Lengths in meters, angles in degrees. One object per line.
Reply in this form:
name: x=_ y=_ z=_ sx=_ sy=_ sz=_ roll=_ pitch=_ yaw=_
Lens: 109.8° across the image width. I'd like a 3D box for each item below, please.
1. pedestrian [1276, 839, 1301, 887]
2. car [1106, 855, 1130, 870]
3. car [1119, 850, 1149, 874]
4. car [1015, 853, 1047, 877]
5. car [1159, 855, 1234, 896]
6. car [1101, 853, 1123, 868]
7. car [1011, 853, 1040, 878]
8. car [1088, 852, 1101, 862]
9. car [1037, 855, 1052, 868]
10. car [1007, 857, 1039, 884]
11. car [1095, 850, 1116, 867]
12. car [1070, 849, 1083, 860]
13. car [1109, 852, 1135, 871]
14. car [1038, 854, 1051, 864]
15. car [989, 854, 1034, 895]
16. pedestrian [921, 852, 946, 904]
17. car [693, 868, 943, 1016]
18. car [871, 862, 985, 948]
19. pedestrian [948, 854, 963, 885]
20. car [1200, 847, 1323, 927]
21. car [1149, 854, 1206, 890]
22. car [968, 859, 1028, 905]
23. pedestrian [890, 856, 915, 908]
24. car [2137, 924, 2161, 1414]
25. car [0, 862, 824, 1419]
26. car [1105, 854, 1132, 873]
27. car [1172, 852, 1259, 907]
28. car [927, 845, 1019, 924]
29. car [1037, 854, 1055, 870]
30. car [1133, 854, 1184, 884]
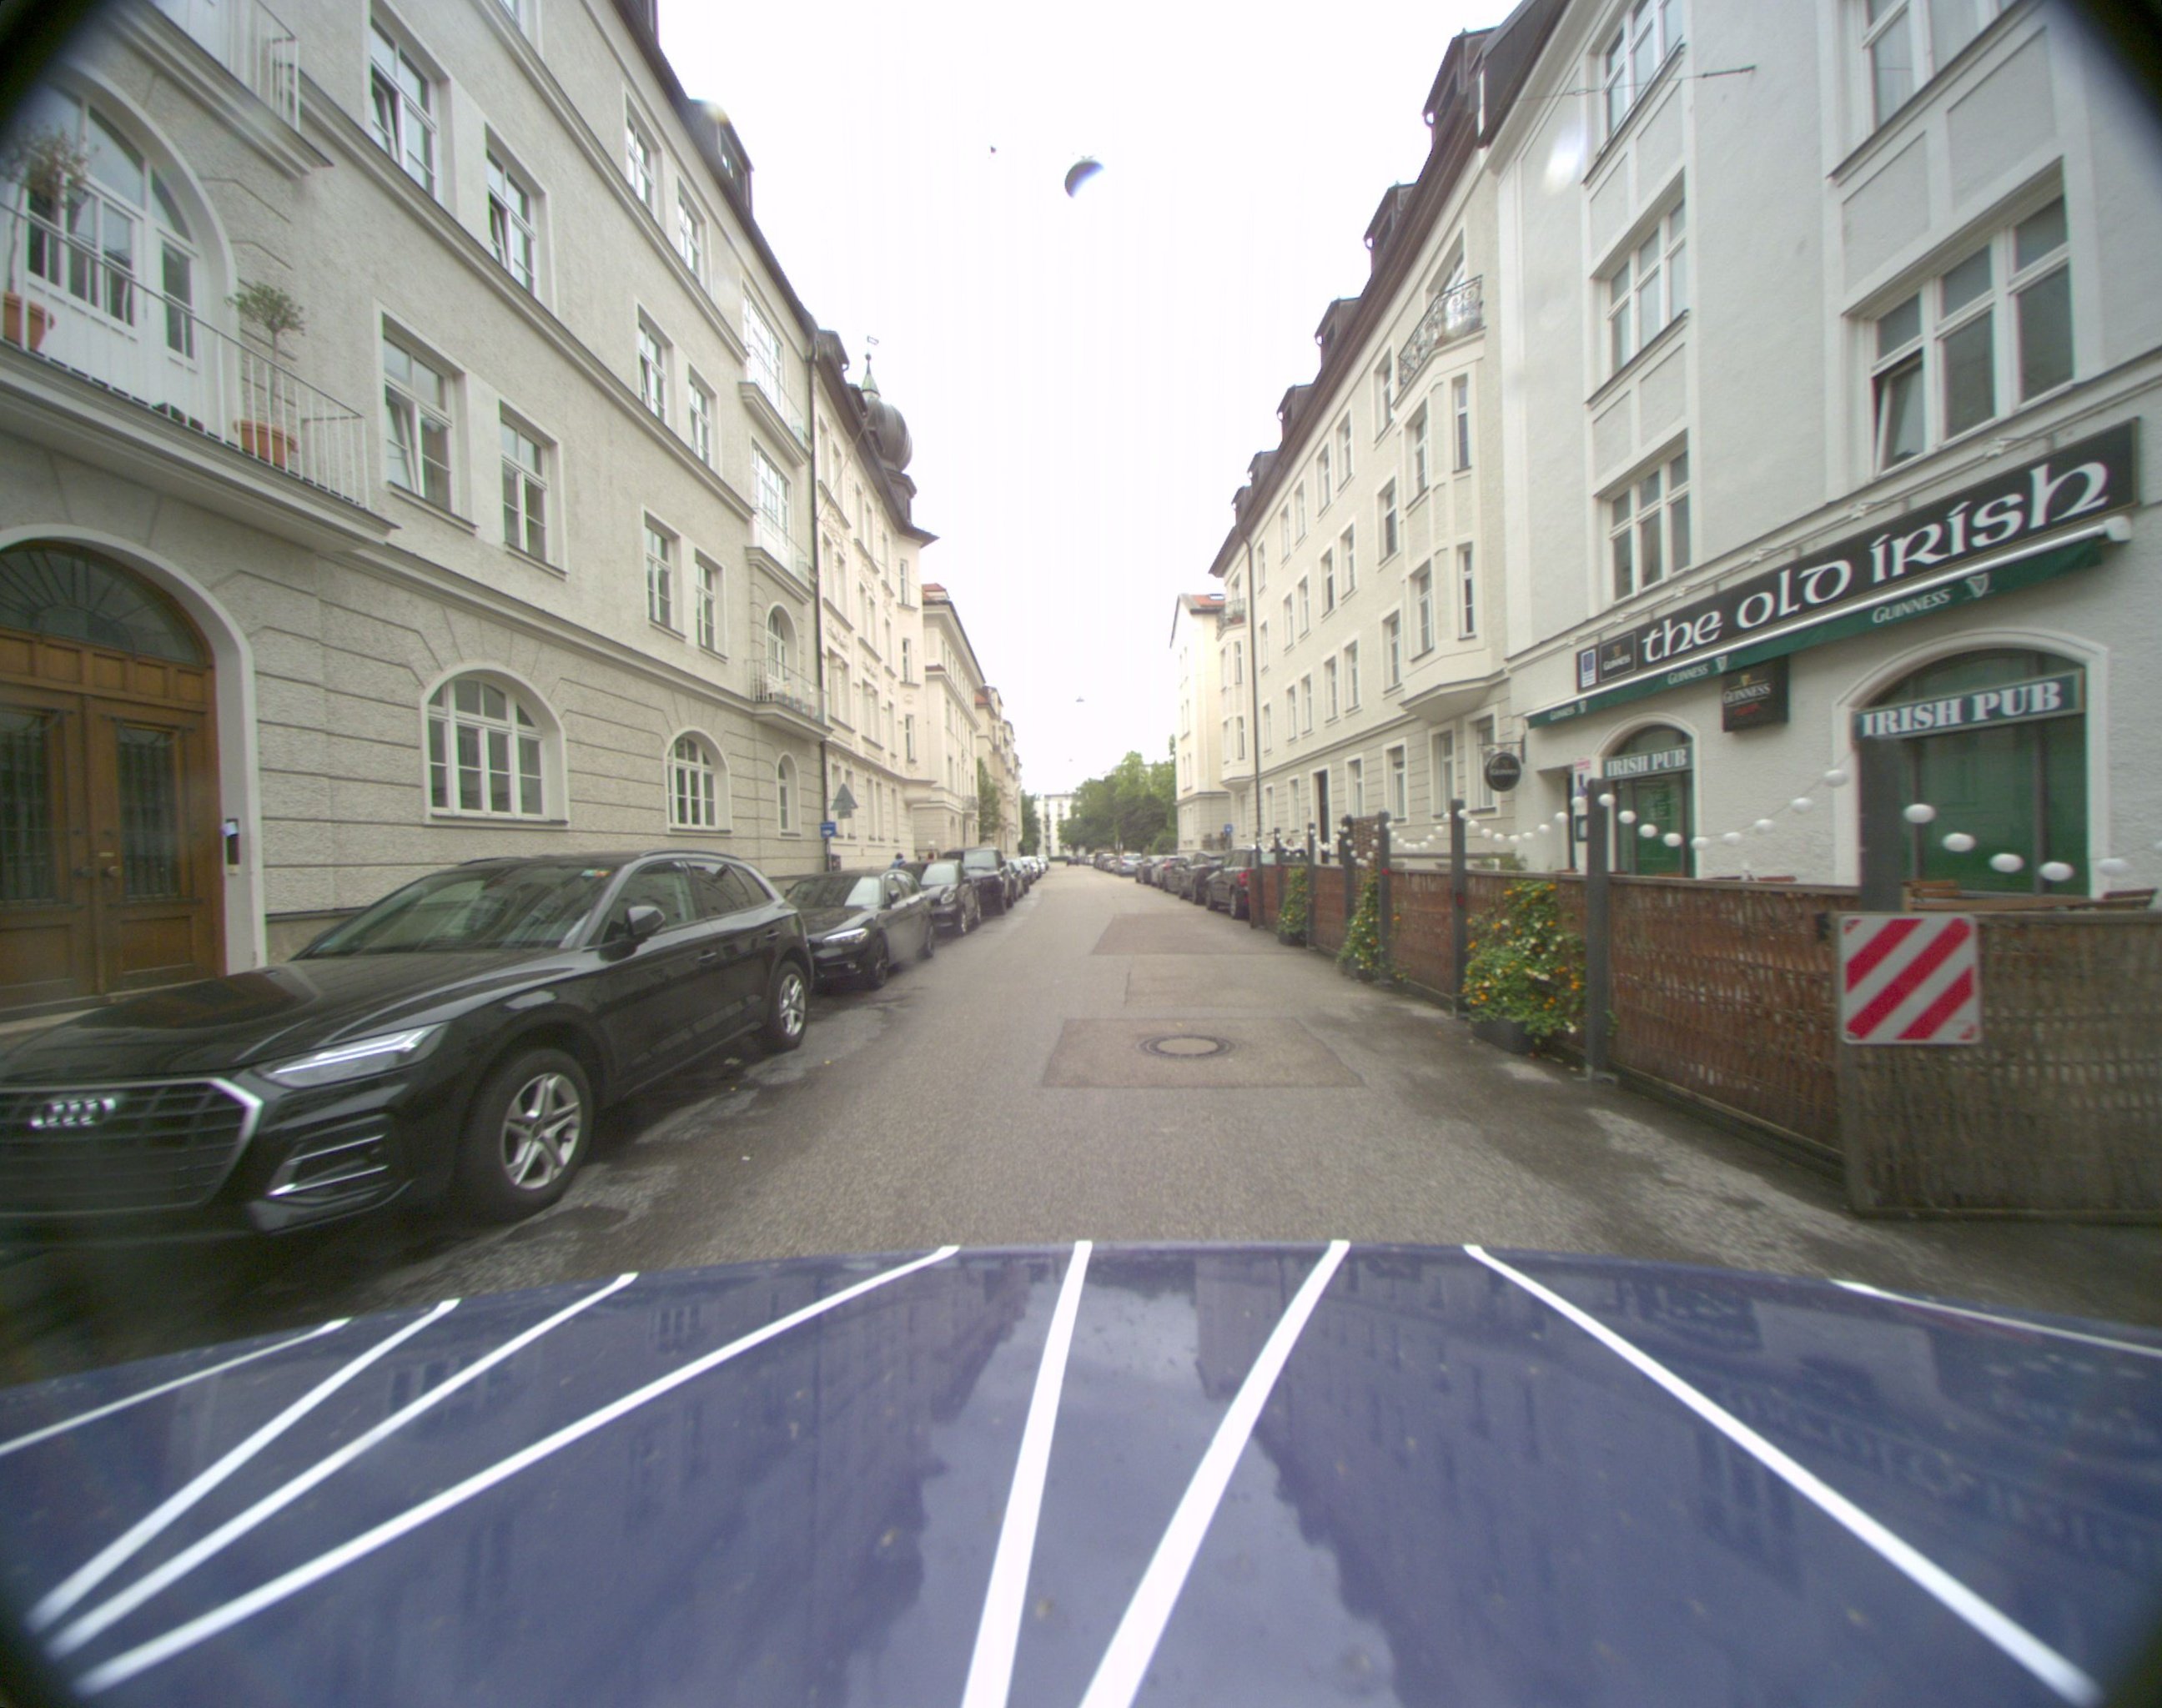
pedestrian: x=7.507 y=0.310 z=27.517 sx=0.663 sy=1.697 sz=0.701 roll=-1 pitch=1 yaw=32
car: x=3.367 y=0.740 z=69.970 sx=1.740 sy=1.357 sz=4.191 roll=0 pitch=0 yaw=-4
car: x=3.590 y=0.560 z=52.437 sx=1.701 sy=1.571 sz=4.061 roll=1 pitch=0 yaw=-1
car: x=-3.526 y=0.770 z=54.244 sx=1.900 sy=1.626 sz=4.391 roll=-2 pitch=0 yaw=0
car: x=4.223 y=0.745 z=28.564 sx=1.816 sy=1.377 sz=4.441 roll=0 pitch=0 yaw=-5
car: x=3.073 y=0.618 z=75.413 sx=1.773 sy=1.412 sz=3.998 roll=-1 pitch=1 yaw=-4
car: x=-3.607 y=0.731 z=49.453 sx=1.713 sy=1.492 sz=3.998 roll=-2 pitch=1 yaw=-4
car: x=2.032 y=0.387 z=113.034 sx=1.705 sy=1.483 sz=3.954 roll=-1 pitch=0 yaw=-3
car: x=-4.304 y=0.821 z=89.918 sx=1.646 sy=1.409 sz=3.999 roll=-3 pitch=0 yaw=-1
car: x=-3.369 y=0.945 z=44.649 sx=1.617 sy=1.387 sz=3.999 roll=-3 pitch=0 yaw=-2
car: x=2.590 y=0.507 z=80.956 sx=1.811 sy=1.638 sz=4.484 roll=-4 pitch=0 yaw=-2
car: x=-0.688 y=0.096 z=113.313 sx=1.729 sy=1.525 sz=4.083 roll=-3 pitch=2 yaw=-3
car: x=3.363 y=0.615 z=63.378 sx=1.802 sy=1.426 sz=4.078 roll=-2 pitch=1 yaw=-2
car: x=-5.309 y=0.712 z=110.808 sx=1.715 sy=1.462 sz=4.083 roll=-3 pitch=0 yaw=-4
car: x=-2.985 y=0.851 z=33.151 sx=1.712 sy=1.578 sz=3.999 roll=-3 pitch=0 yaw=-3
pedestrian: x=-4.933 y=0.795 z=25.370 sx=0.705 sy=1.718 sz=0.703 roll=-1 pitch=1 yaw=-4
car: x=-3.192 y=0.980 z=10.223 sx=1.710 sy=1.462 sz=4.201 roll=-2 pitch=0 yaw=2
car: x=-3.123 y=0.978 z=16.163 sx=1.659 sy=1.516 sz=3.636 roll=-2 pitch=0 yaw=-1
pedestrian: x=-6.824 y=0.852 z=41.451 sx=0.684 sy=1.669 sz=0.812 roll=0 pitch=0 yaw=-2
car: x=4.160 y=0.704 z=18.246 sx=1.751 sy=1.663 sz=4.274 roll=1 pitch=0 yaw=-2
car: x=4.159 y=0.741 z=33.411 sx=1.799 sy=1.411 sz=4.509 roll=1 pitch=1 yaw=-1
car: x=-2.940 y=0.959 z=27.546 sx=1.668 sy=1.387 sz=3.581 roll=-3 pitch=1 yaw=1
pedestrian: x=-5.778 y=0.894 z=24.579 sx=0.681 sy=1.664 sz=0.654 roll=1 pitch=1 yaw=-4
car: x=3.816 y=0.912 z=0.151 sx=1.711 sy=1.382 sz=4.000 roll=0 pitch=1 yaw=3
car: x=-3.274 y=0.942 z=4.552 sx=1.781 sy=1.626 sz=4.375 roll=-3 pitch=0 yaw=2
car: x=2.875 y=0.682 z=58.570 sx=1.649 sy=1.395 sz=3.998 roll=0 pitch=0 yaw=-4
car: x=3.974 y=0.694 z=23.098 sx=1.746 sy=1.478 sz=4.180 roll=-2 pitch=0 yaw=-2
car: x=-2.917 y=0.749 z=21.559 sx=1.916 sy=1.874 sz=4.713 roll=-4 pitch=0 yaw=-1
car: x=-3.453 y=0.817 z=75.173 sx=1.667 sy=1.499 sz=4.063 roll=-2 pitch=0 yaw=-4
car: x=3.928 y=0.722 z=39.244 sx=1.855 sy=1.359 sz=4.700 roll=-2 pitch=0 yaw=-3
